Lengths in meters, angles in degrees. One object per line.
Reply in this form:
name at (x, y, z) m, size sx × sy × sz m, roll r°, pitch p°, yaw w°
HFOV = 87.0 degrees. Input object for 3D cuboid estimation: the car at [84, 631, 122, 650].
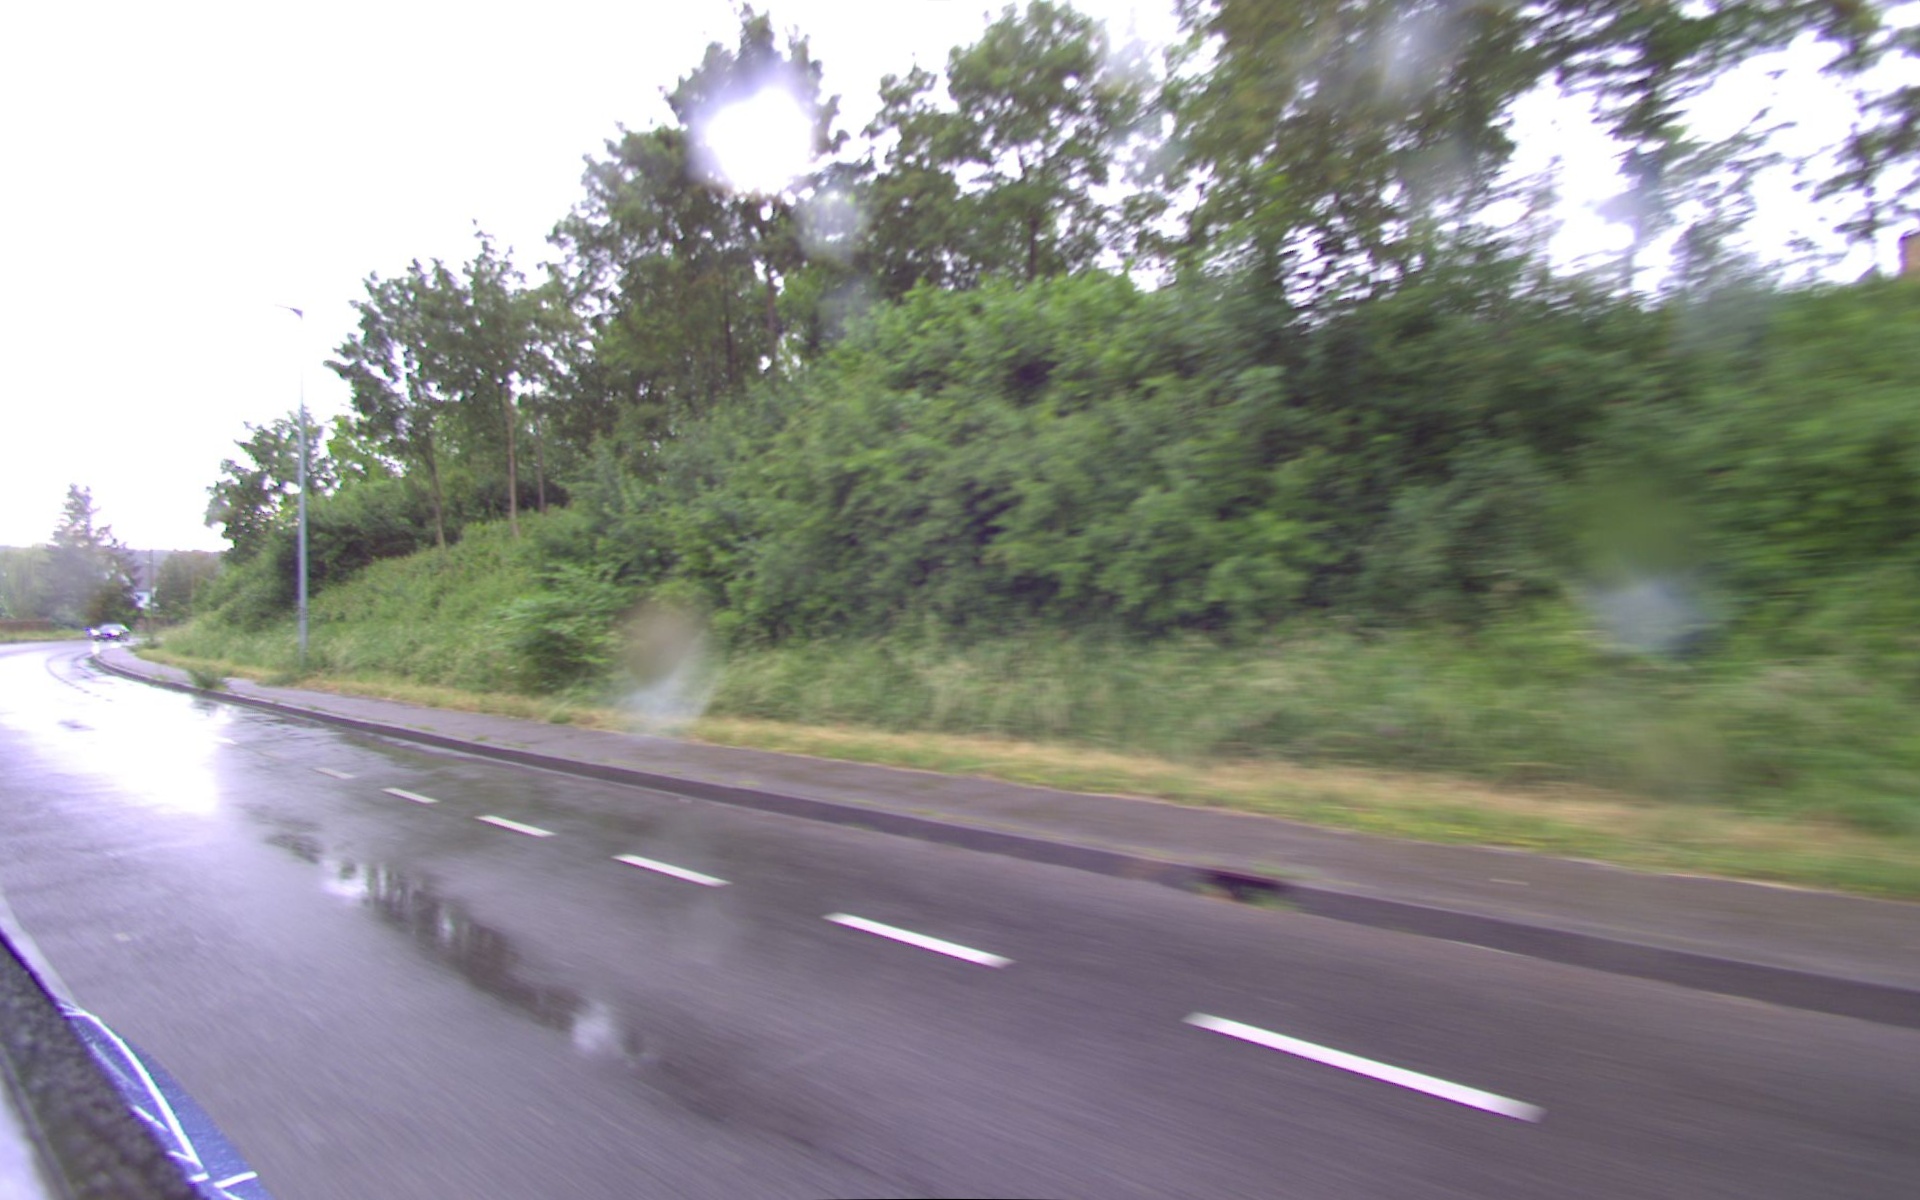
car at (-75.558, 3.552, 89.306) m, size 1.849 × 1.618 × 4.012 m, roll 2°, pitch -3°, yaw -30°
